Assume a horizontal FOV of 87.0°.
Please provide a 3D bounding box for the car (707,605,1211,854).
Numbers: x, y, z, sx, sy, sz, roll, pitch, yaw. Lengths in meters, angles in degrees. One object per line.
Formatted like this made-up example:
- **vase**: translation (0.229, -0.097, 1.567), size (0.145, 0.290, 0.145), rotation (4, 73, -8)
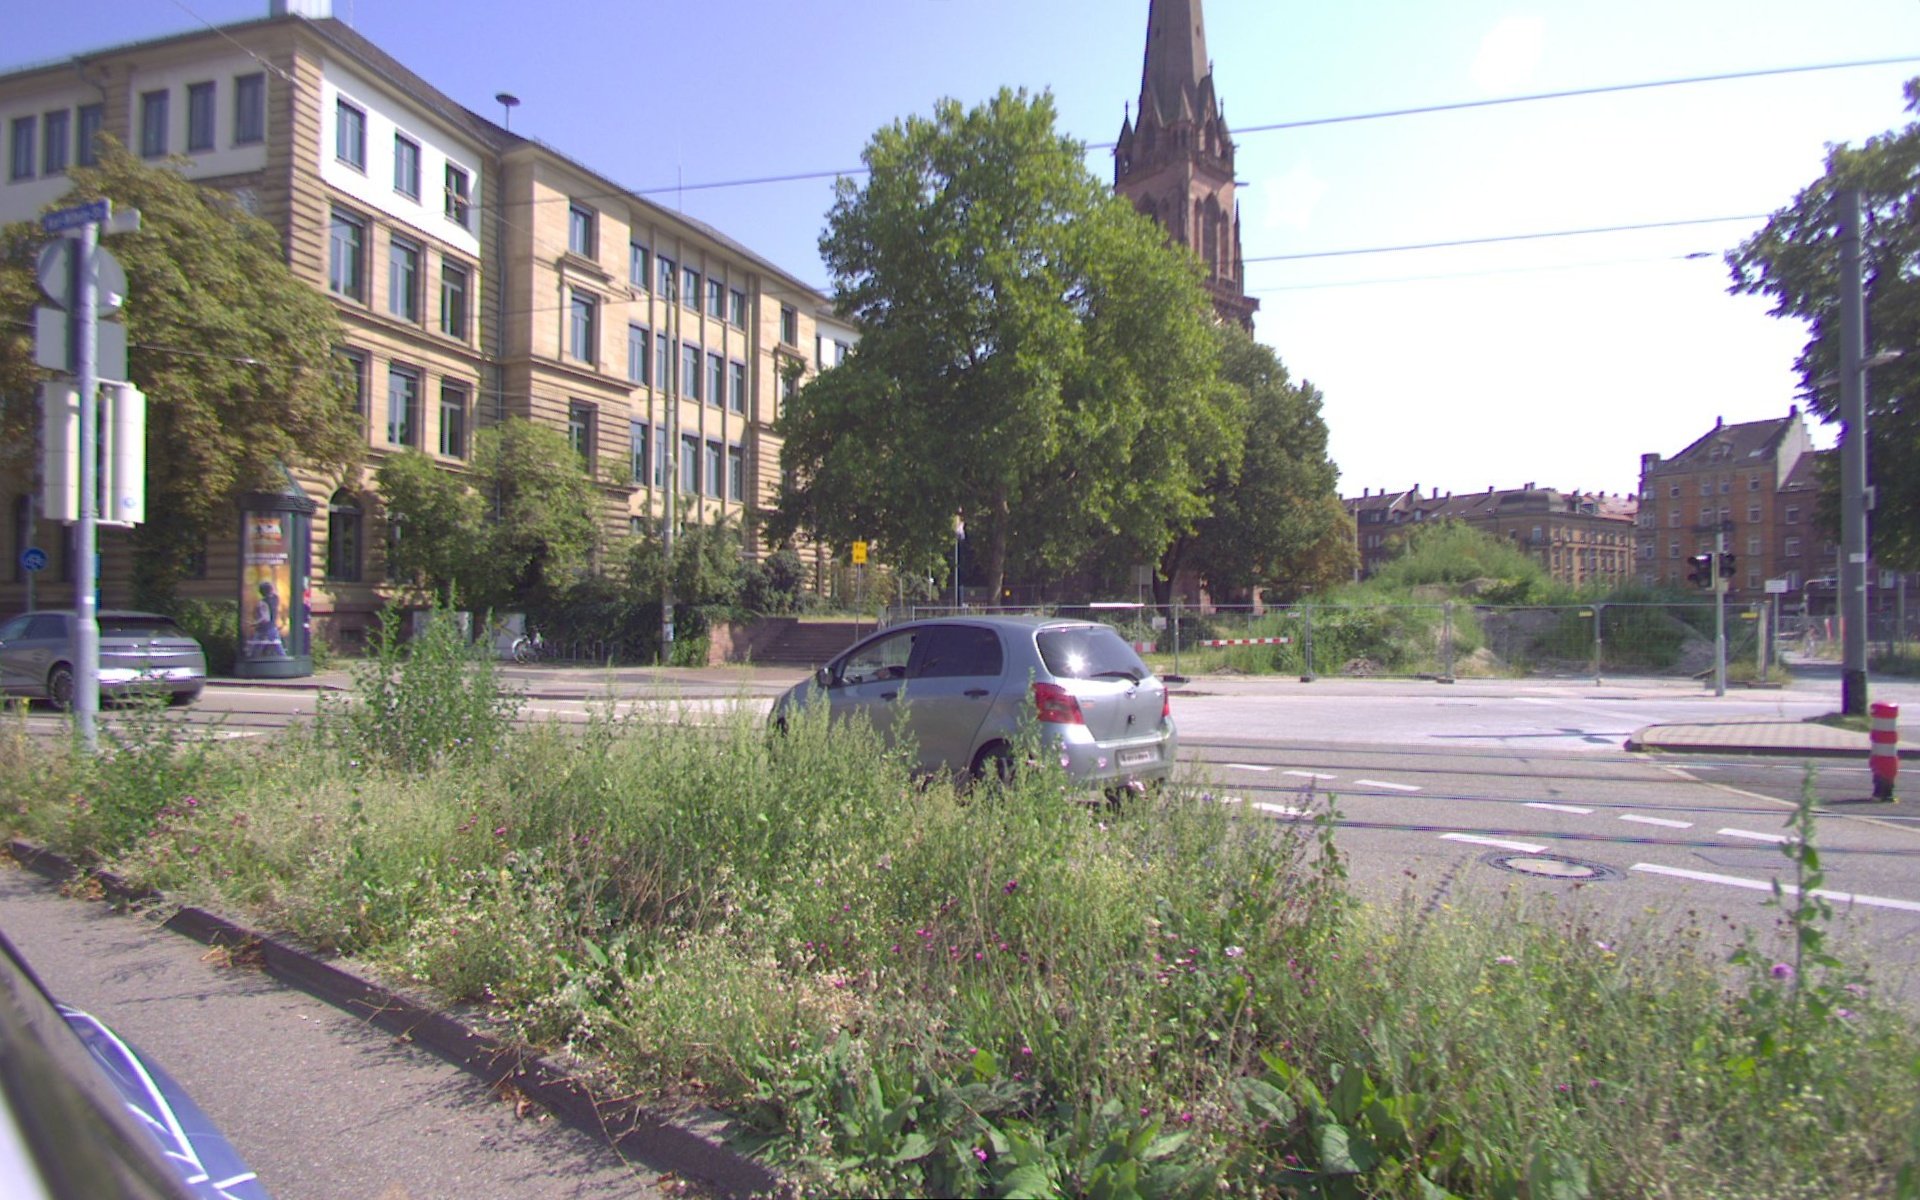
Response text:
- **car**: translation (-0.248, 0.859, 8.407), size (1.631, 1.542, 4.328), rotation (2, -2, -44)

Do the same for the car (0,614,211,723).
- **car**: translation (-14.833, 1.056, 16.723), size (4.640, 1.623, 1.765), rotation (-1, -2, 21)

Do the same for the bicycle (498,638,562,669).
- **bicycle**: translation (-13.111, 1.622, 30.936), size (0.742, 0.901, 2.173), rotation (0, -2, 10)
